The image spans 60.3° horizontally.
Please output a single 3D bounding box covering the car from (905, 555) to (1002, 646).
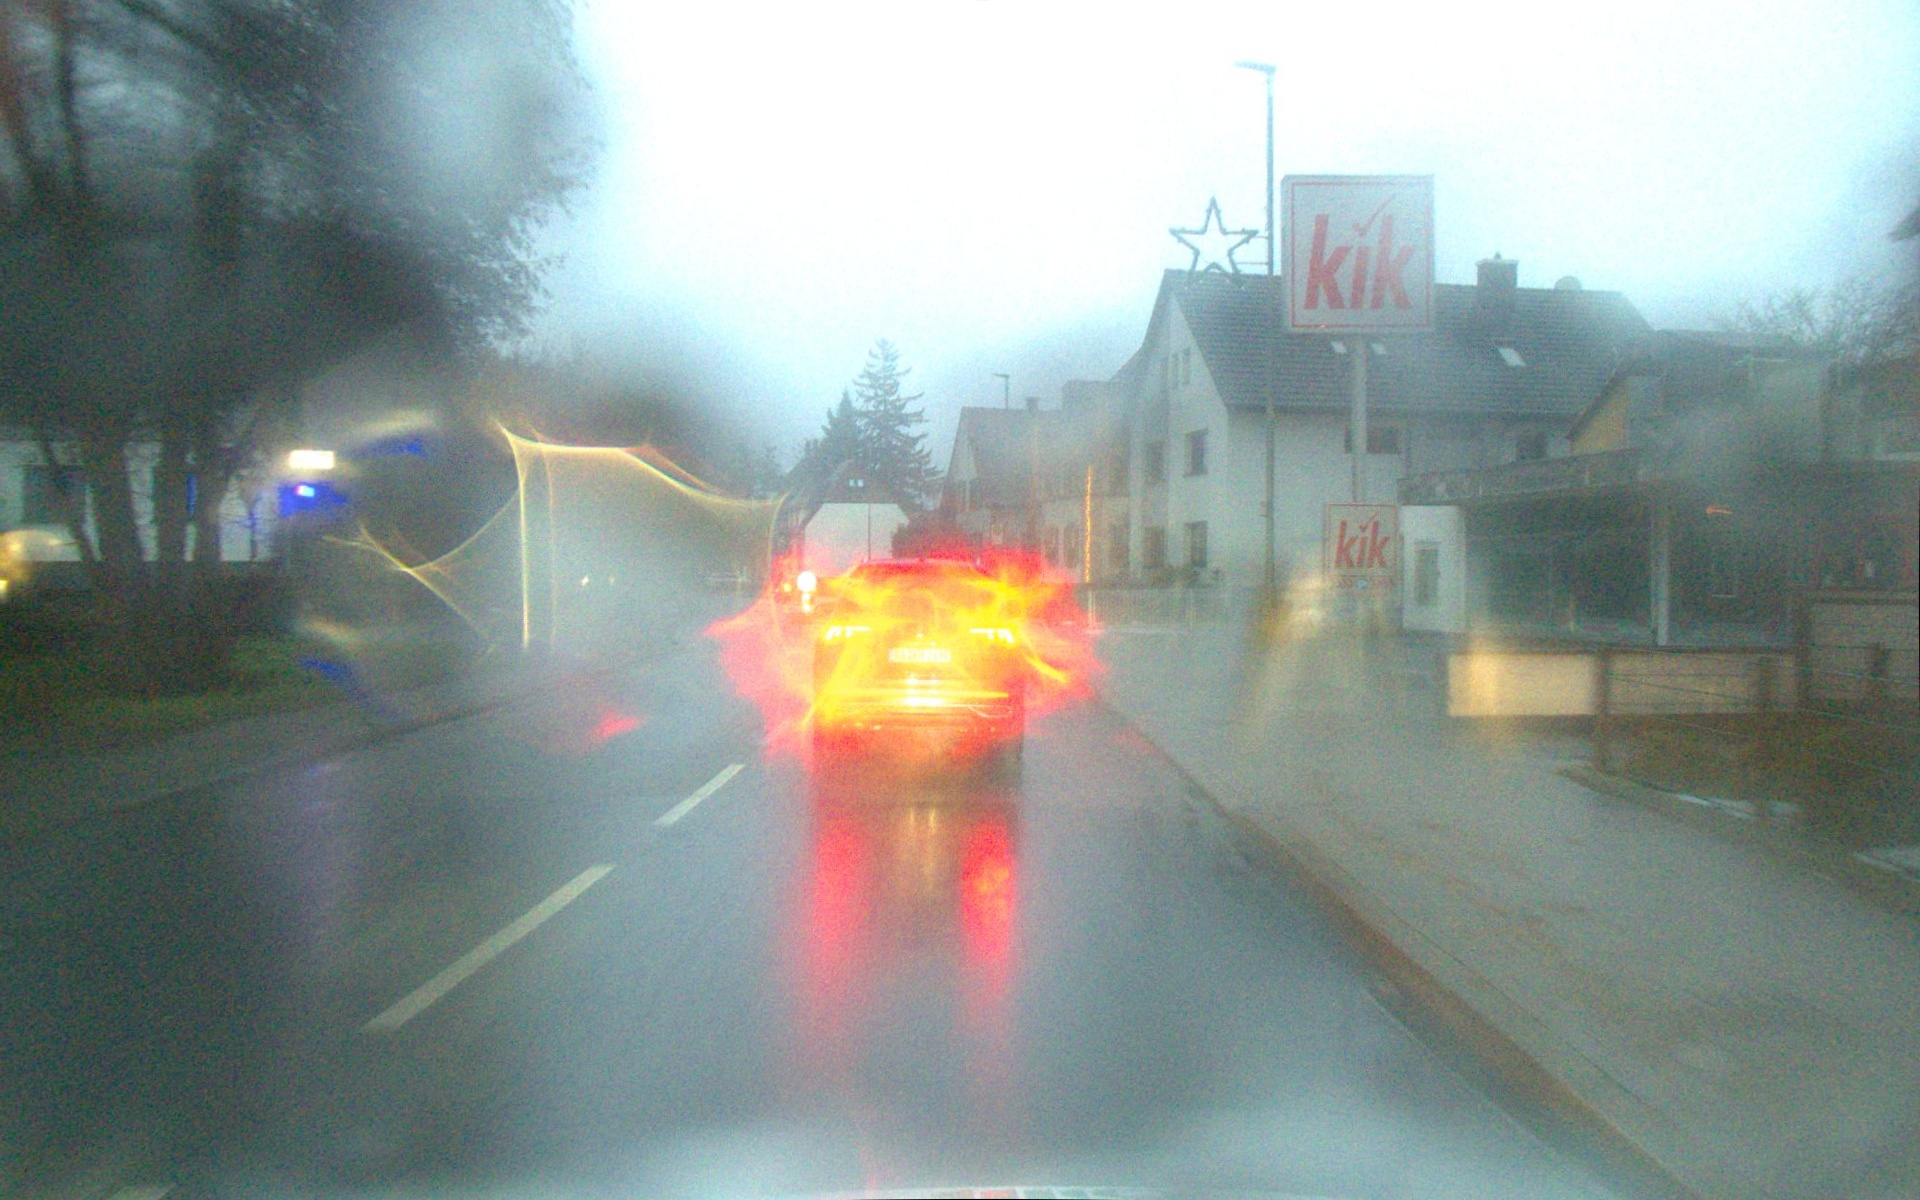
[{"bbox_3d":[-0.172,-0.028,33.362,1.820,1.676,3.999,1,1,-2],"label":"car"}]

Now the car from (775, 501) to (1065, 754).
[{"bbox_3d":[-0.364,0.198,15.425,2.263,1.972,5.017,0,0,-1],"label":"car"}]

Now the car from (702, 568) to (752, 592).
[{"bbox_3d":[-20.226,-1.723,143.424,4.174,2.049,1.804,0,1,-14],"label":"car"}]

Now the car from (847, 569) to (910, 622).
[{"bbox_3d":[-3.224,-0.171,64.451,2.264,1.972,5.012,0,0,-5],"label":"car"}]
